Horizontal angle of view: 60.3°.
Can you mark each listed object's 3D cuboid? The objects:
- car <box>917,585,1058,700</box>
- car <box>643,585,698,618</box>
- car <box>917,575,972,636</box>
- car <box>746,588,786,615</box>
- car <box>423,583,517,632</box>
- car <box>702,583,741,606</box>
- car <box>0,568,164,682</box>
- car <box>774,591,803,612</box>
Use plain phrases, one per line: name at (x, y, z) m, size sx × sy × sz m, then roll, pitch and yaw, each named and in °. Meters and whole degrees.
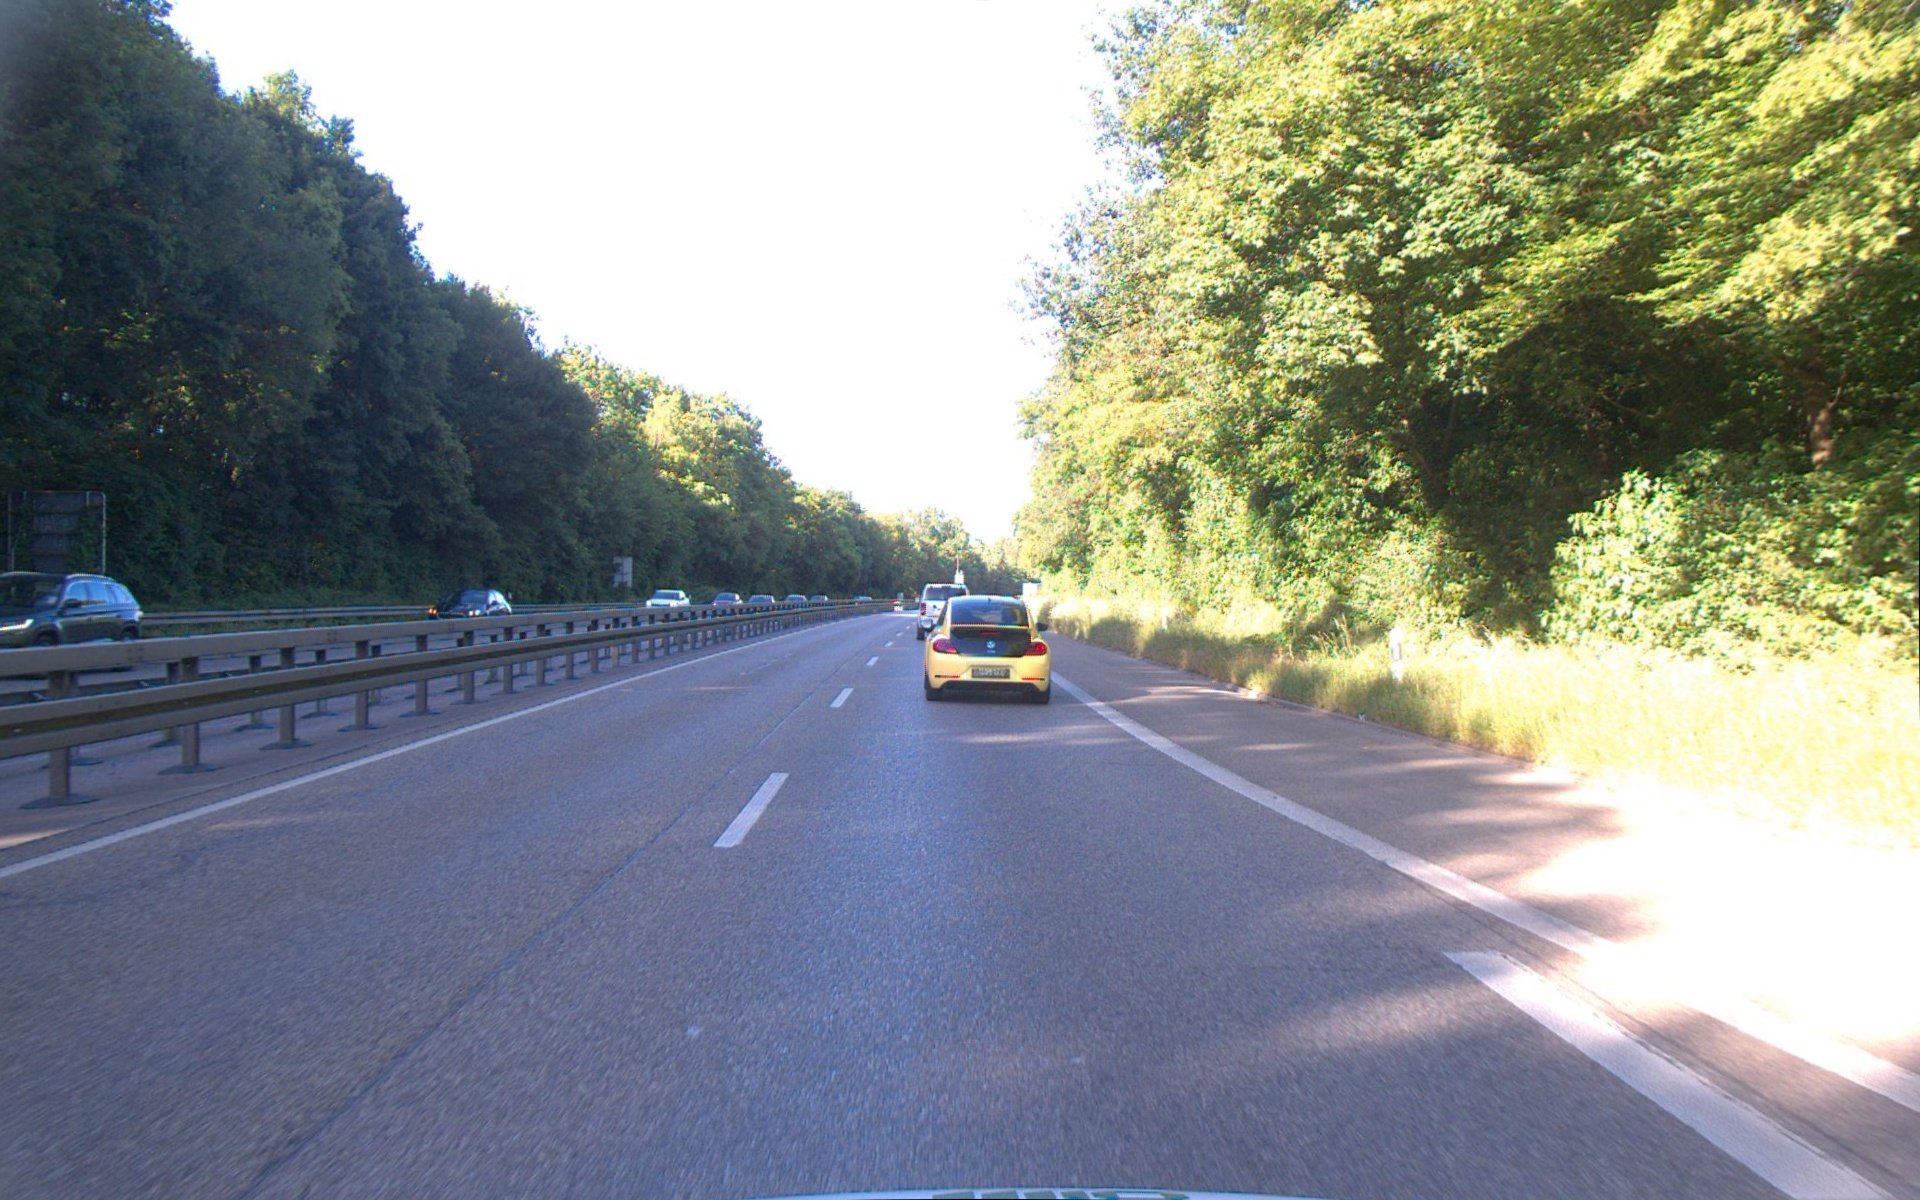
car at (0.450, 0.575, 24.246) m, size 1.898 × 1.534 × 3.423 m, roll 1°, pitch 0°, yaw 2°
car at (-15.489, 0.067, 88.749) m, size 1.952 × 1.651 × 4.791 m, roll -1°, pitch 0°, yaw 2°
car at (-0.500, 0.172, 53.393) m, size 1.706 × 1.862 × 3.422 m, roll 1°, pitch 0°, yaw -1°
car at (-11.294, 0.078, 96.699) m, size 1.688 × 1.494 × 4.097 m, roll -1°, pitch 0°, yaw 2°
car at (-16.218, 0.240, 54.912) m, size 1.953 × 1.512 × 3.999 m, roll -1°, pitch 0°, yaw -1°
car at (-15.760, -0.347, 109.554) m, size 1.952 × 1.489 × 4.000 m, roll -1°, pitch 0°, yaw 1°
car at (-15.401, 0.402, 27.546) m, size 1.953 × 1.728 × 4.907 m, roll -1°, pitch 0°, yaw -1°
car at (-12.359, 0.126, 119.185) m, size 1.689 × 1.397 × 4.095 m, roll -1°, pitch -2°, yaw -1°
